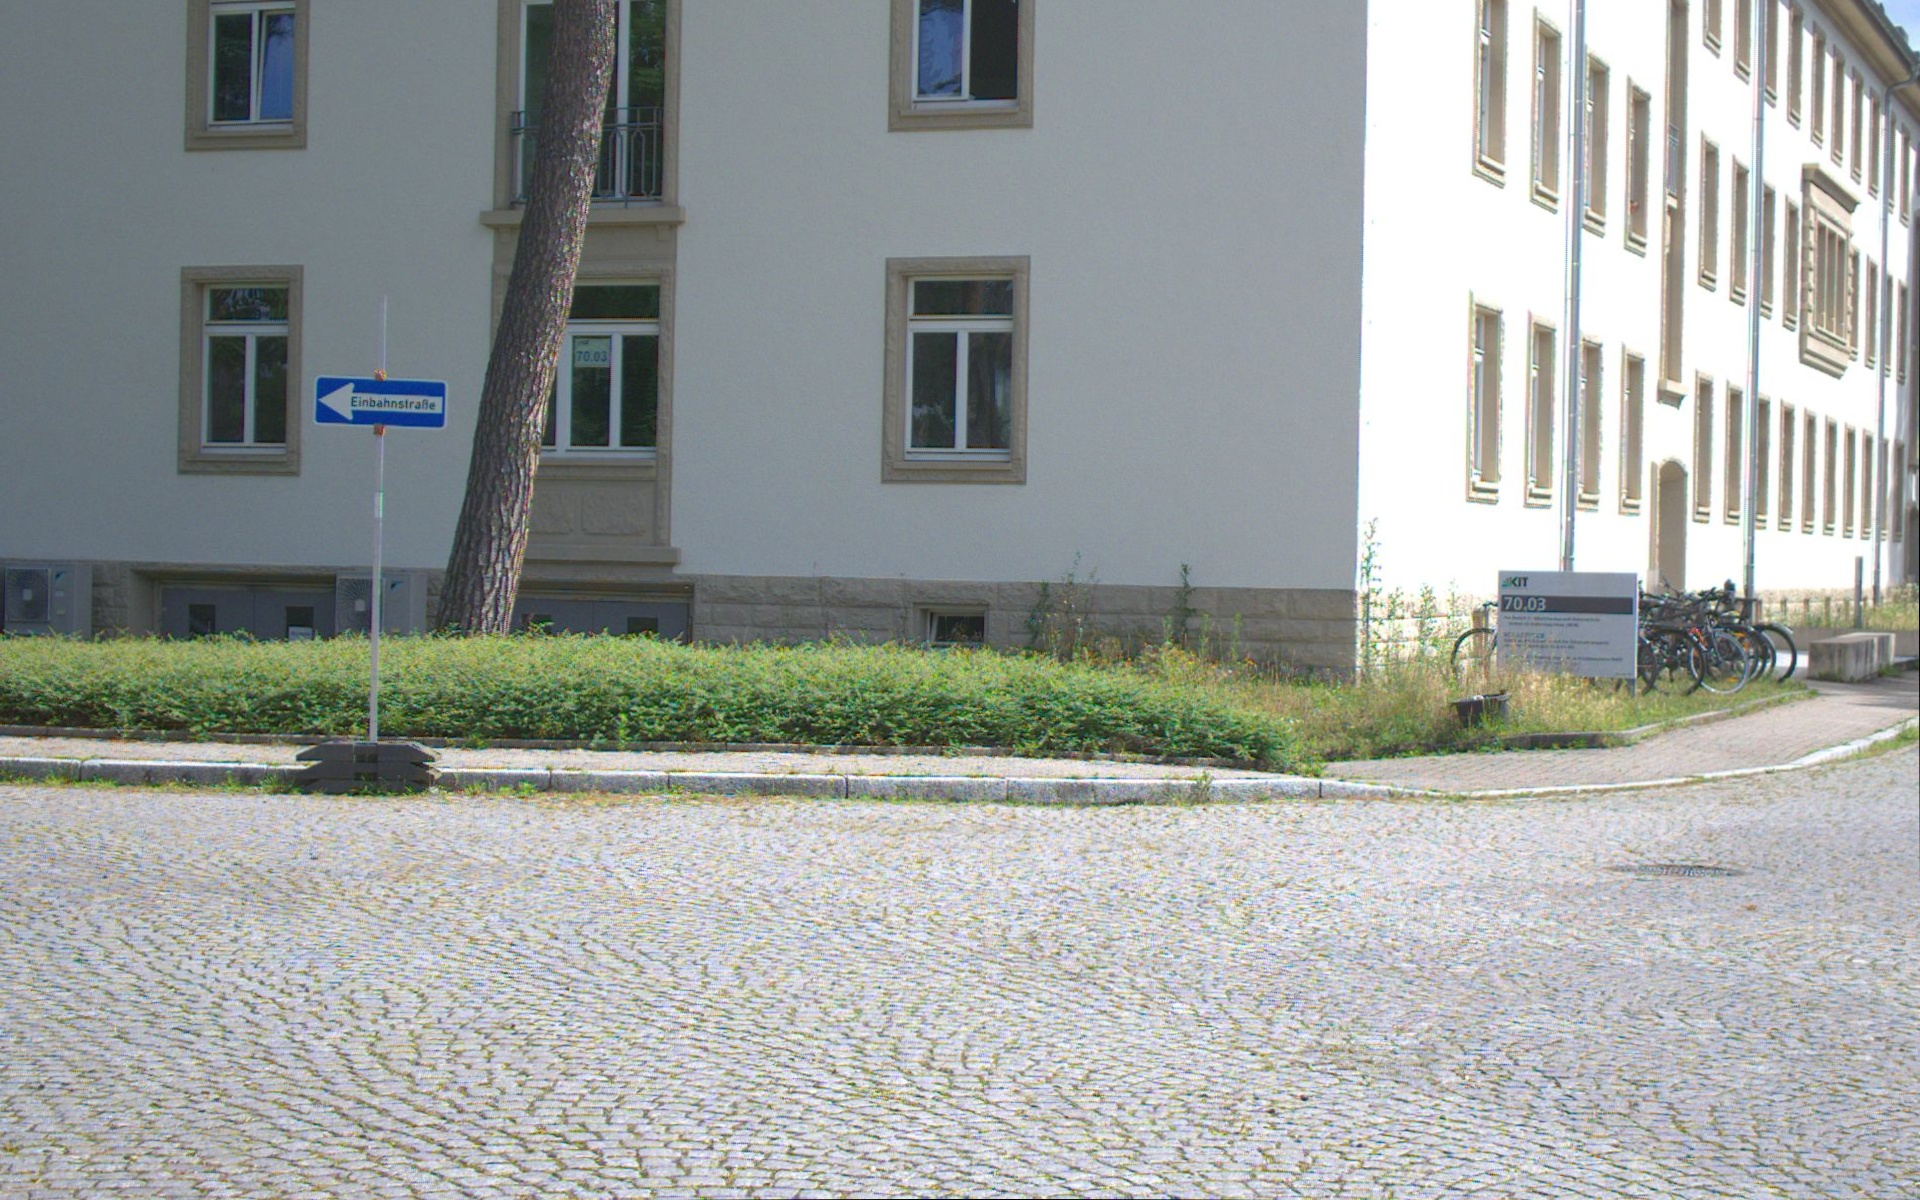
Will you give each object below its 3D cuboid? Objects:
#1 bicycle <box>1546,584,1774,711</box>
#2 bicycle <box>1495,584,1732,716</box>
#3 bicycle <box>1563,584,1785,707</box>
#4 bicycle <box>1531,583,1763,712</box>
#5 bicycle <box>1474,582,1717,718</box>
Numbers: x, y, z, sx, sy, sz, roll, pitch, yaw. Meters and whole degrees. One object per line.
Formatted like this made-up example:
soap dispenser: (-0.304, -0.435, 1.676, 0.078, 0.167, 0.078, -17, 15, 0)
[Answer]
bicycle: (7.305, 0.481, 35.901, 2.225, 1.256, 0.622, 1, 1, 24)
bicycle: (6.515, 0.485, 34.302, 2.225, 1.256, 0.622, 1, 1, 24)
bicycle: (7.647, 0.476, 36.849, 2.225, 1.256, 0.622, 1, 1, 24)
bicycle: (7.006, 0.471, 35.098, 2.225, 1.256, 0.622, 1, 1, 28)
bicycle: (6.191, 0.474, 33.550, 2.225, 1.256, 0.622, 1, 1, 28)
